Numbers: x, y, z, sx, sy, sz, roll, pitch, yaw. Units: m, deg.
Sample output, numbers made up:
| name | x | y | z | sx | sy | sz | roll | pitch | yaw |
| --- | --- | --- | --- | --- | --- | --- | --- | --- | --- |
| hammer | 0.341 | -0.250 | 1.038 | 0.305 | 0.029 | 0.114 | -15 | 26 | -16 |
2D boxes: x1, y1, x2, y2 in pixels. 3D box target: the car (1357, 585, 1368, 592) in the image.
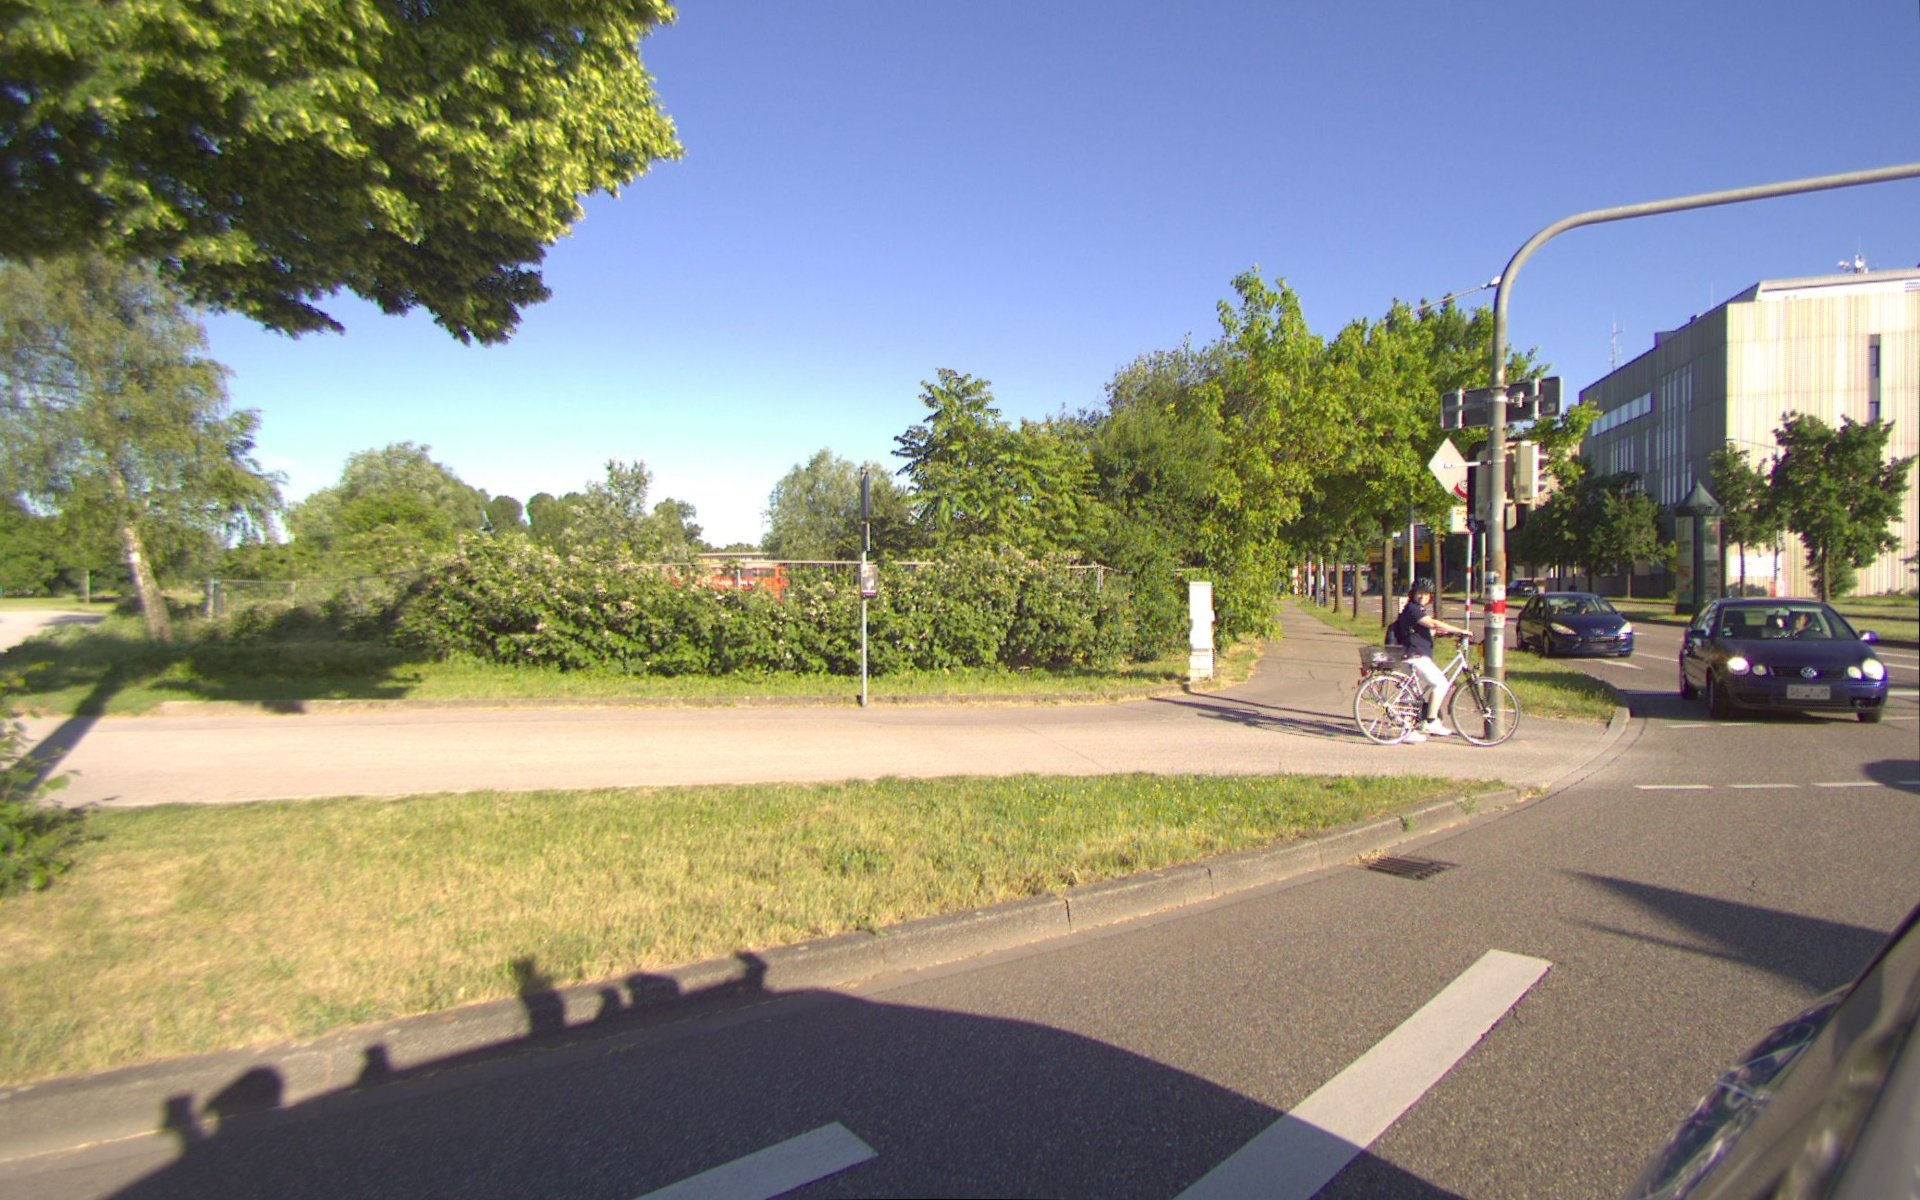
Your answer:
| name | x | y | z | sx | sy | sz | roll | pitch | yaw |
| --- | --- | --- | --- | --- | --- | --- | --- | --- | --- |
| car | 96.002 | -2.848 | 241.328 | 1.972 | 1.598 | 3.980 | 0 | 1 | 17 |

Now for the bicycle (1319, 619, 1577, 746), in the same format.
| name | x | y | z | sx | sy | sz | roll | pitch | yaw |
| --- | --- | --- | --- | --- | --- | --- | --- | --- | --- |
| bicycle | 4.875 | 0.804 | 10.204 | 2.172 | 1.169 | 0.877 | 0 | 2 | -6 |

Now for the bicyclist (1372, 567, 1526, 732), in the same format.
| name | x | y | z | sx | sy | sz | roll | pitch | yaw |
| --- | --- | --- | --- | --- | --- | --- | --- | --- | --- |
| bicyclist | 4.899 | 0.470 | 10.204 | 1.066 | 1.581 | 0.877 | 0 | 2 | -6 |

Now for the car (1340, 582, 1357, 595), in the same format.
| name | x | y | z | sx | sy | sz | roll | pitch | yaw |
| --- | --- | --- | --- | --- | --- | --- | --- | --- | --- |
| car | 50.595 | -1.514 | 131.942 | 1.975 | 1.709 | 3.974 | 0 | 1 | 20 |

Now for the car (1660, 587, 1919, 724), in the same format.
| name | x | y | z | sx | sy | sz | roll | pitch | yaw |
| --- | --- | --- | --- | --- | --- | --- | --- | --- | --- |
| car | 10.689 | 0.585 | 13.387 | 1.621 | 1.486 | 4.506 | -1 | 0 | 26 |

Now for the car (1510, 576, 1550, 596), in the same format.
| name | x | y | z | sx | sy | sz | roll | pitch | yaw |
| --- | --- | --- | --- | --- | --- | --- | --- | --- | --- |
| car | 50.759 | -1.264 | 90.199 | 1.972 | 1.760 | 4.715 | 0 | 1 | 16 |

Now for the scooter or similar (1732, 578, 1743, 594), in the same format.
| name | x | y | z | sx | sy | sz | roll | pitch | yaw |
| --- | --- | --- | --- | --- | --- | --- | --- | --- | --- |
| scooter or similar | 56.891 | -1.049 | 74.081 | 0.450 | 1.124 | 1.391 | 0 | 1 | 30 |

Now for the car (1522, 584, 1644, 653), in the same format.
| name | x | y | z | sx | sy | sz | roll | pitch | yaw |
| --- | --- | --- | --- | --- | --- | --- | --- | --- | --- |
| car | 14.891 | 0.394 | 24.416 | 1.737 | 1.472 | 3.973 | -2 | 0 | 21 |
